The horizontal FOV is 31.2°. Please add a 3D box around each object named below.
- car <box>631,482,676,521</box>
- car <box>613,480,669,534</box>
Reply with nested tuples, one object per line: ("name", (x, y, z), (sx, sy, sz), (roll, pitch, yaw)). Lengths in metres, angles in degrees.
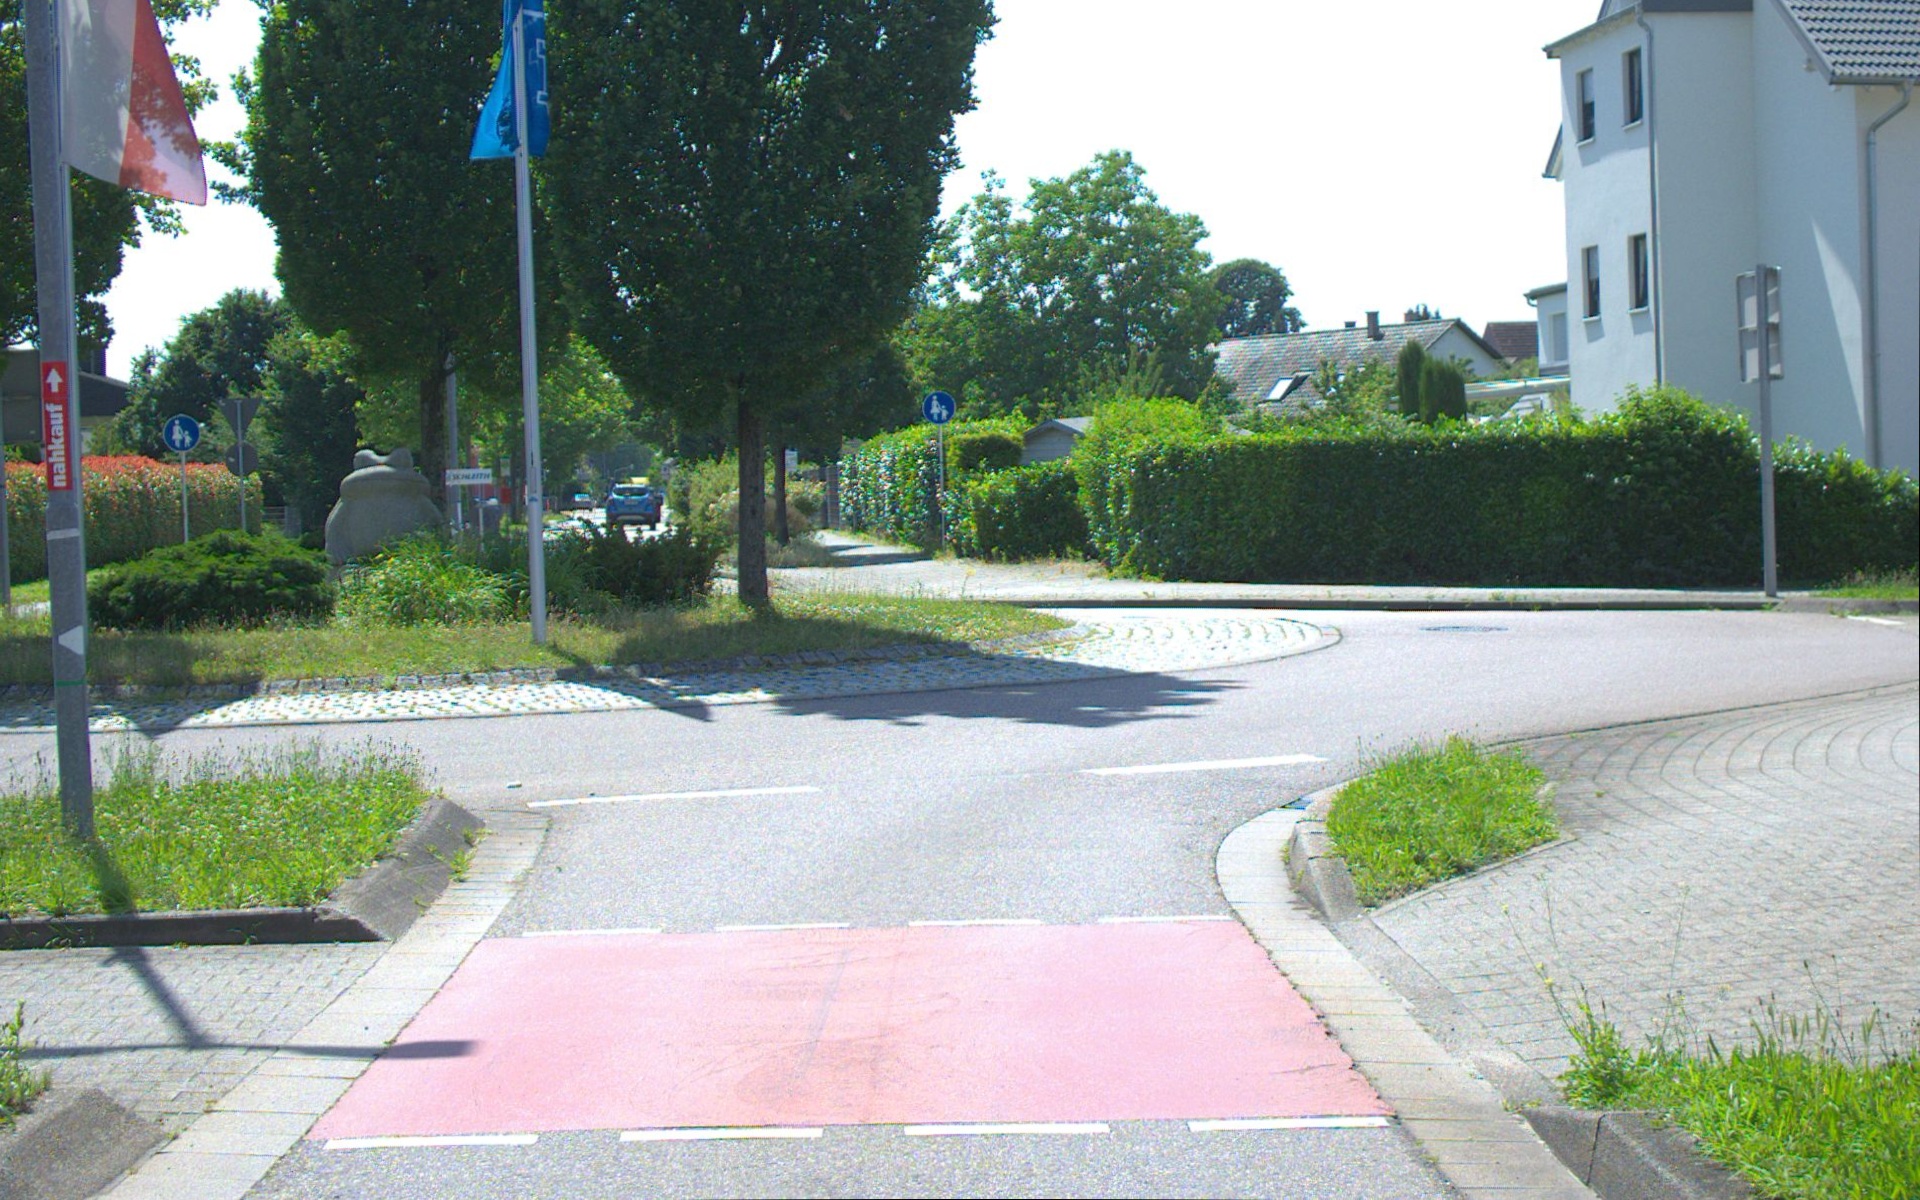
("car", (-14.158, -4.551, 158.780), (1.993, 1.764, 4.001), (-1, 1, -4))
("car", (-11.308, -3.304, 122.000), (1.922, 1.879, 4.001), (-1, 1, -5))
